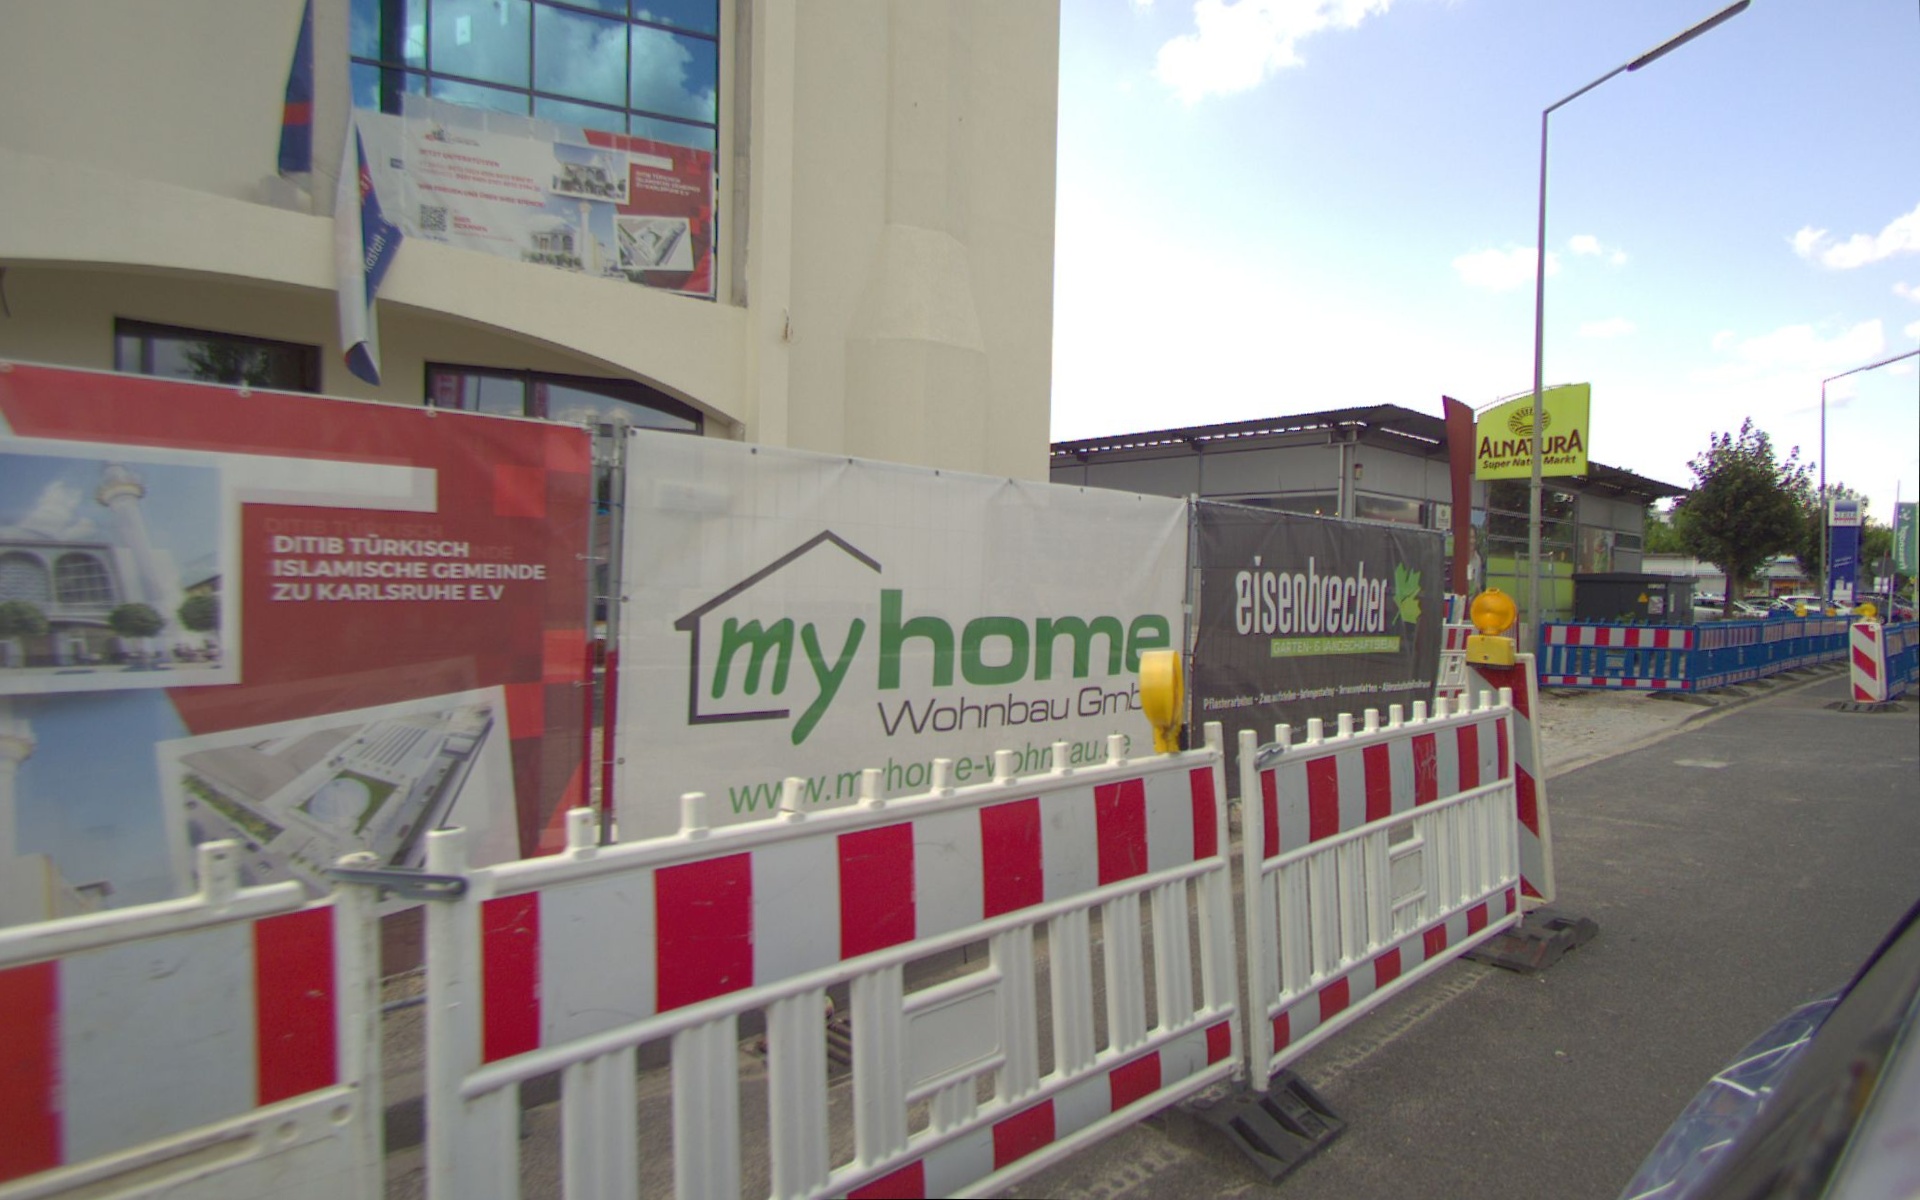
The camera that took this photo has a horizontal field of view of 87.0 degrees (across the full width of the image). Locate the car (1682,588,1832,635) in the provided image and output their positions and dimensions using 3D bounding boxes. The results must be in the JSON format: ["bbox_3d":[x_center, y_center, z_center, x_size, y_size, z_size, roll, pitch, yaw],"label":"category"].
[{"bbox_3d":[29.762,0.385,37.890,1.956,1.481,4.110,0,3,-42],"label":"car"}]

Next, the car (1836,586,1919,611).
[{"bbox_3d":[61.068,-0.092,66.990,1.827,1.455,4.488,0,3,-42],"label":"car"}]

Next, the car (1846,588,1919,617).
[{"bbox_3d":[55.032,0.126,59.826,3.885,1.541,1.721,4,3,44],"label":"car"}]

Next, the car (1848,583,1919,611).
[{"bbox_3d":[66.865,-0.196,72.288,1.870,1.810,4.902,0,3,-42],"label":"car"}]

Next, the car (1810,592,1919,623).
[{"bbox_3d":[49.189,0.369,55.066,1.815,1.461,4.314,0,3,-43],"label":"car"}]

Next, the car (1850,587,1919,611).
[{"bbox_3d":[64.889,-0.083,70.709,1.624,1.517,3.820,0,2,-40],"label":"car"}]

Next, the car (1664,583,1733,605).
[{"bbox_3d":[55.953,-0.494,76.687,1.696,1.502,3.940,0,3,-44],"label":"car"}]

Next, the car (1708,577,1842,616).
[{"bbox_3d":[34.990,-0.189,43.520,1.774,1.448,4.190,0,3,-40],"label":"car"}]

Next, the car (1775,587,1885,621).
[{"bbox_3d":[43.130,0.185,50.221,1.767,1.428,3.957,0,3,-44],"label":"car"}]
